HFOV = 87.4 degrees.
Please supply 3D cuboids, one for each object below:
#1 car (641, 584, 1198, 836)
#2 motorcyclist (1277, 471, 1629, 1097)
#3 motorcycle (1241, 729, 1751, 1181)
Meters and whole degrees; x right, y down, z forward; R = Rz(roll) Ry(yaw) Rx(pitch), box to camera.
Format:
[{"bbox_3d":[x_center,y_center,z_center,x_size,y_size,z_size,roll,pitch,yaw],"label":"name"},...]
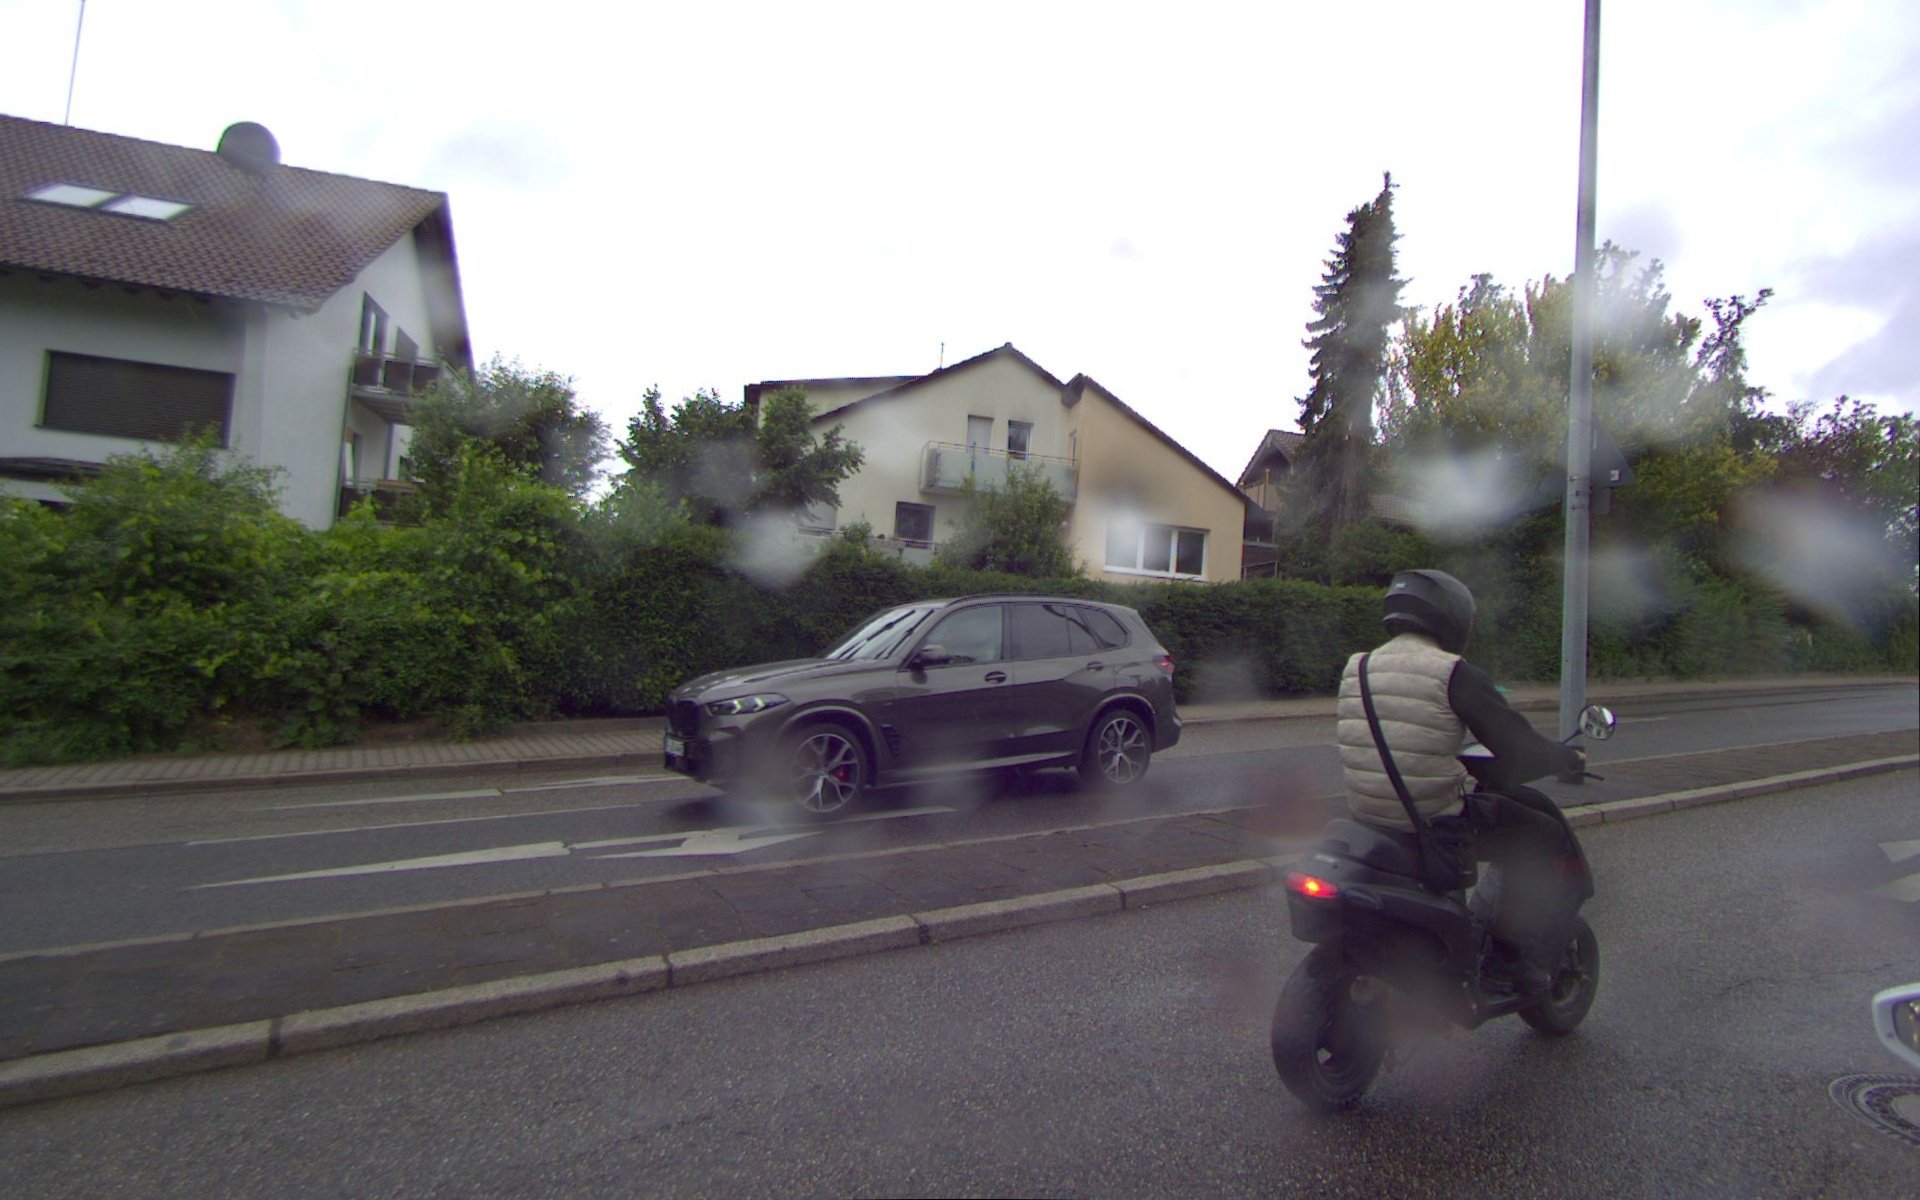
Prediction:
[{"bbox_3d":[-0.248,0.846,9.041,4.666,1.739,1.983,2,-3,-32],"label":"car"},{"bbox_3d":[1.536,0.506,3.187,0.666,1.664,0.761,2,-3,-30],"label":"motorcyclist"},{"bbox_3d":[1.803,0.999,3.311,1.727,1.066,0.687,3,-3,-31],"label":"motorcycle"}]
